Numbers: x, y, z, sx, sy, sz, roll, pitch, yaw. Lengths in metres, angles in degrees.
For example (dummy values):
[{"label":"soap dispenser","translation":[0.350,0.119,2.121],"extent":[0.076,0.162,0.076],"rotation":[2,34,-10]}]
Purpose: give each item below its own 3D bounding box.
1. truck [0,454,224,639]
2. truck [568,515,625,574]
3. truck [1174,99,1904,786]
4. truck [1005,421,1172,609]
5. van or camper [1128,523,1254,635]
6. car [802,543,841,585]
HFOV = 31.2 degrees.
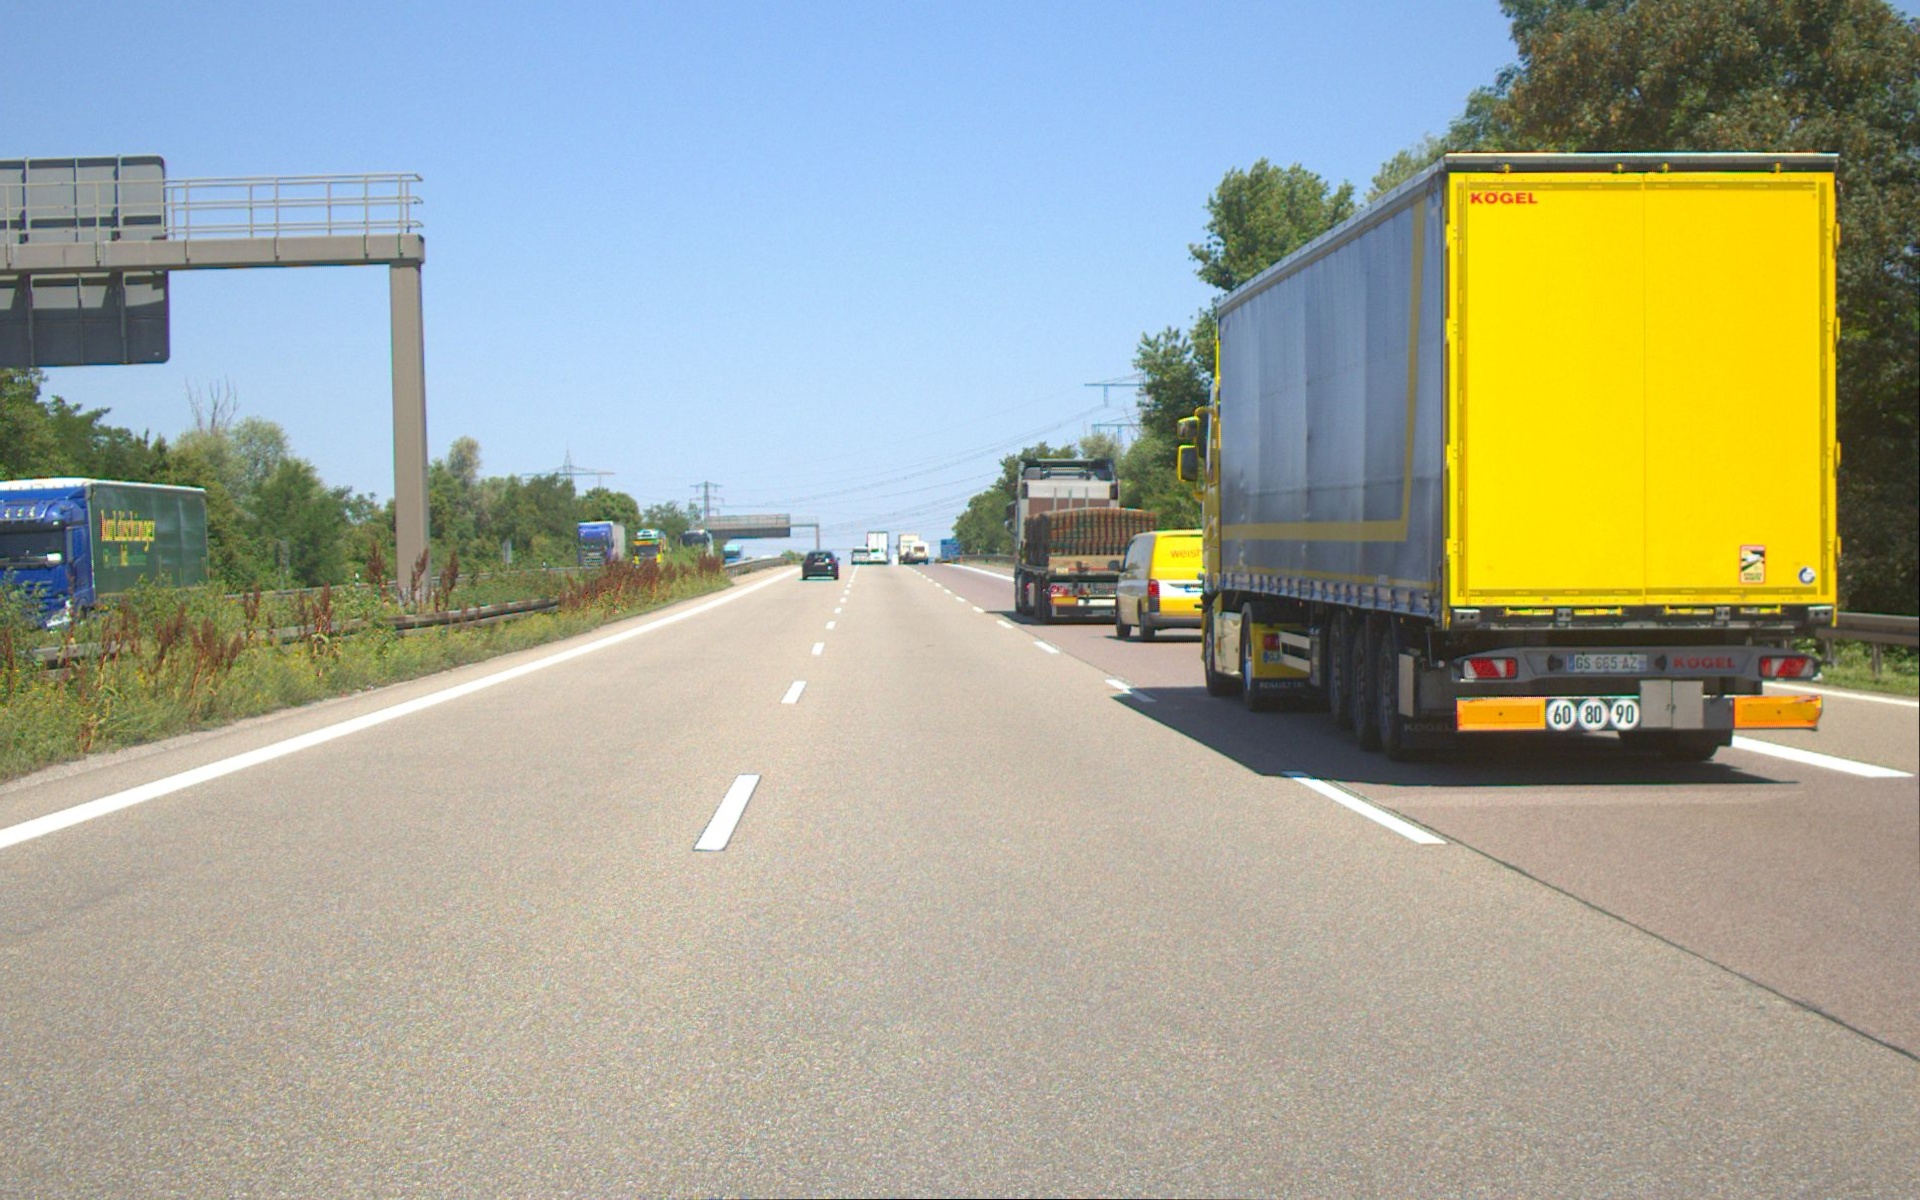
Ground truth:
[{"label":"truck","translation":[-22.648,-1.369,90.735],"extent":[2.955,4.327,18.244],"rotation":[-2,1,-2]},{"label":"truck","translation":[-27.696,-4.220,262.452],"extent":[2.955,4.327,17.472],"rotation":[-1,1,-2]},{"label":"truck","translation":[4.159,-1.038,29.943],"extent":[2.845,4.243,16.793],"rotation":[-1,0,-2]},{"label":"truck","translation":[2.810,-1.828,80.412],"extent":[2.969,3.943,16.614],"rotation":[0,0,-1]},{"label":"van or camper","translation":[4.052,-0.402,61.098],"extent":[1.993,1.903,4.971],"rotation":[0,1,1]},{"label":"car","translation":[-6.766,-1.771,168.467],"extent":[1.791,2.007,3.888],"rotation":[-2,1,-1]}]
